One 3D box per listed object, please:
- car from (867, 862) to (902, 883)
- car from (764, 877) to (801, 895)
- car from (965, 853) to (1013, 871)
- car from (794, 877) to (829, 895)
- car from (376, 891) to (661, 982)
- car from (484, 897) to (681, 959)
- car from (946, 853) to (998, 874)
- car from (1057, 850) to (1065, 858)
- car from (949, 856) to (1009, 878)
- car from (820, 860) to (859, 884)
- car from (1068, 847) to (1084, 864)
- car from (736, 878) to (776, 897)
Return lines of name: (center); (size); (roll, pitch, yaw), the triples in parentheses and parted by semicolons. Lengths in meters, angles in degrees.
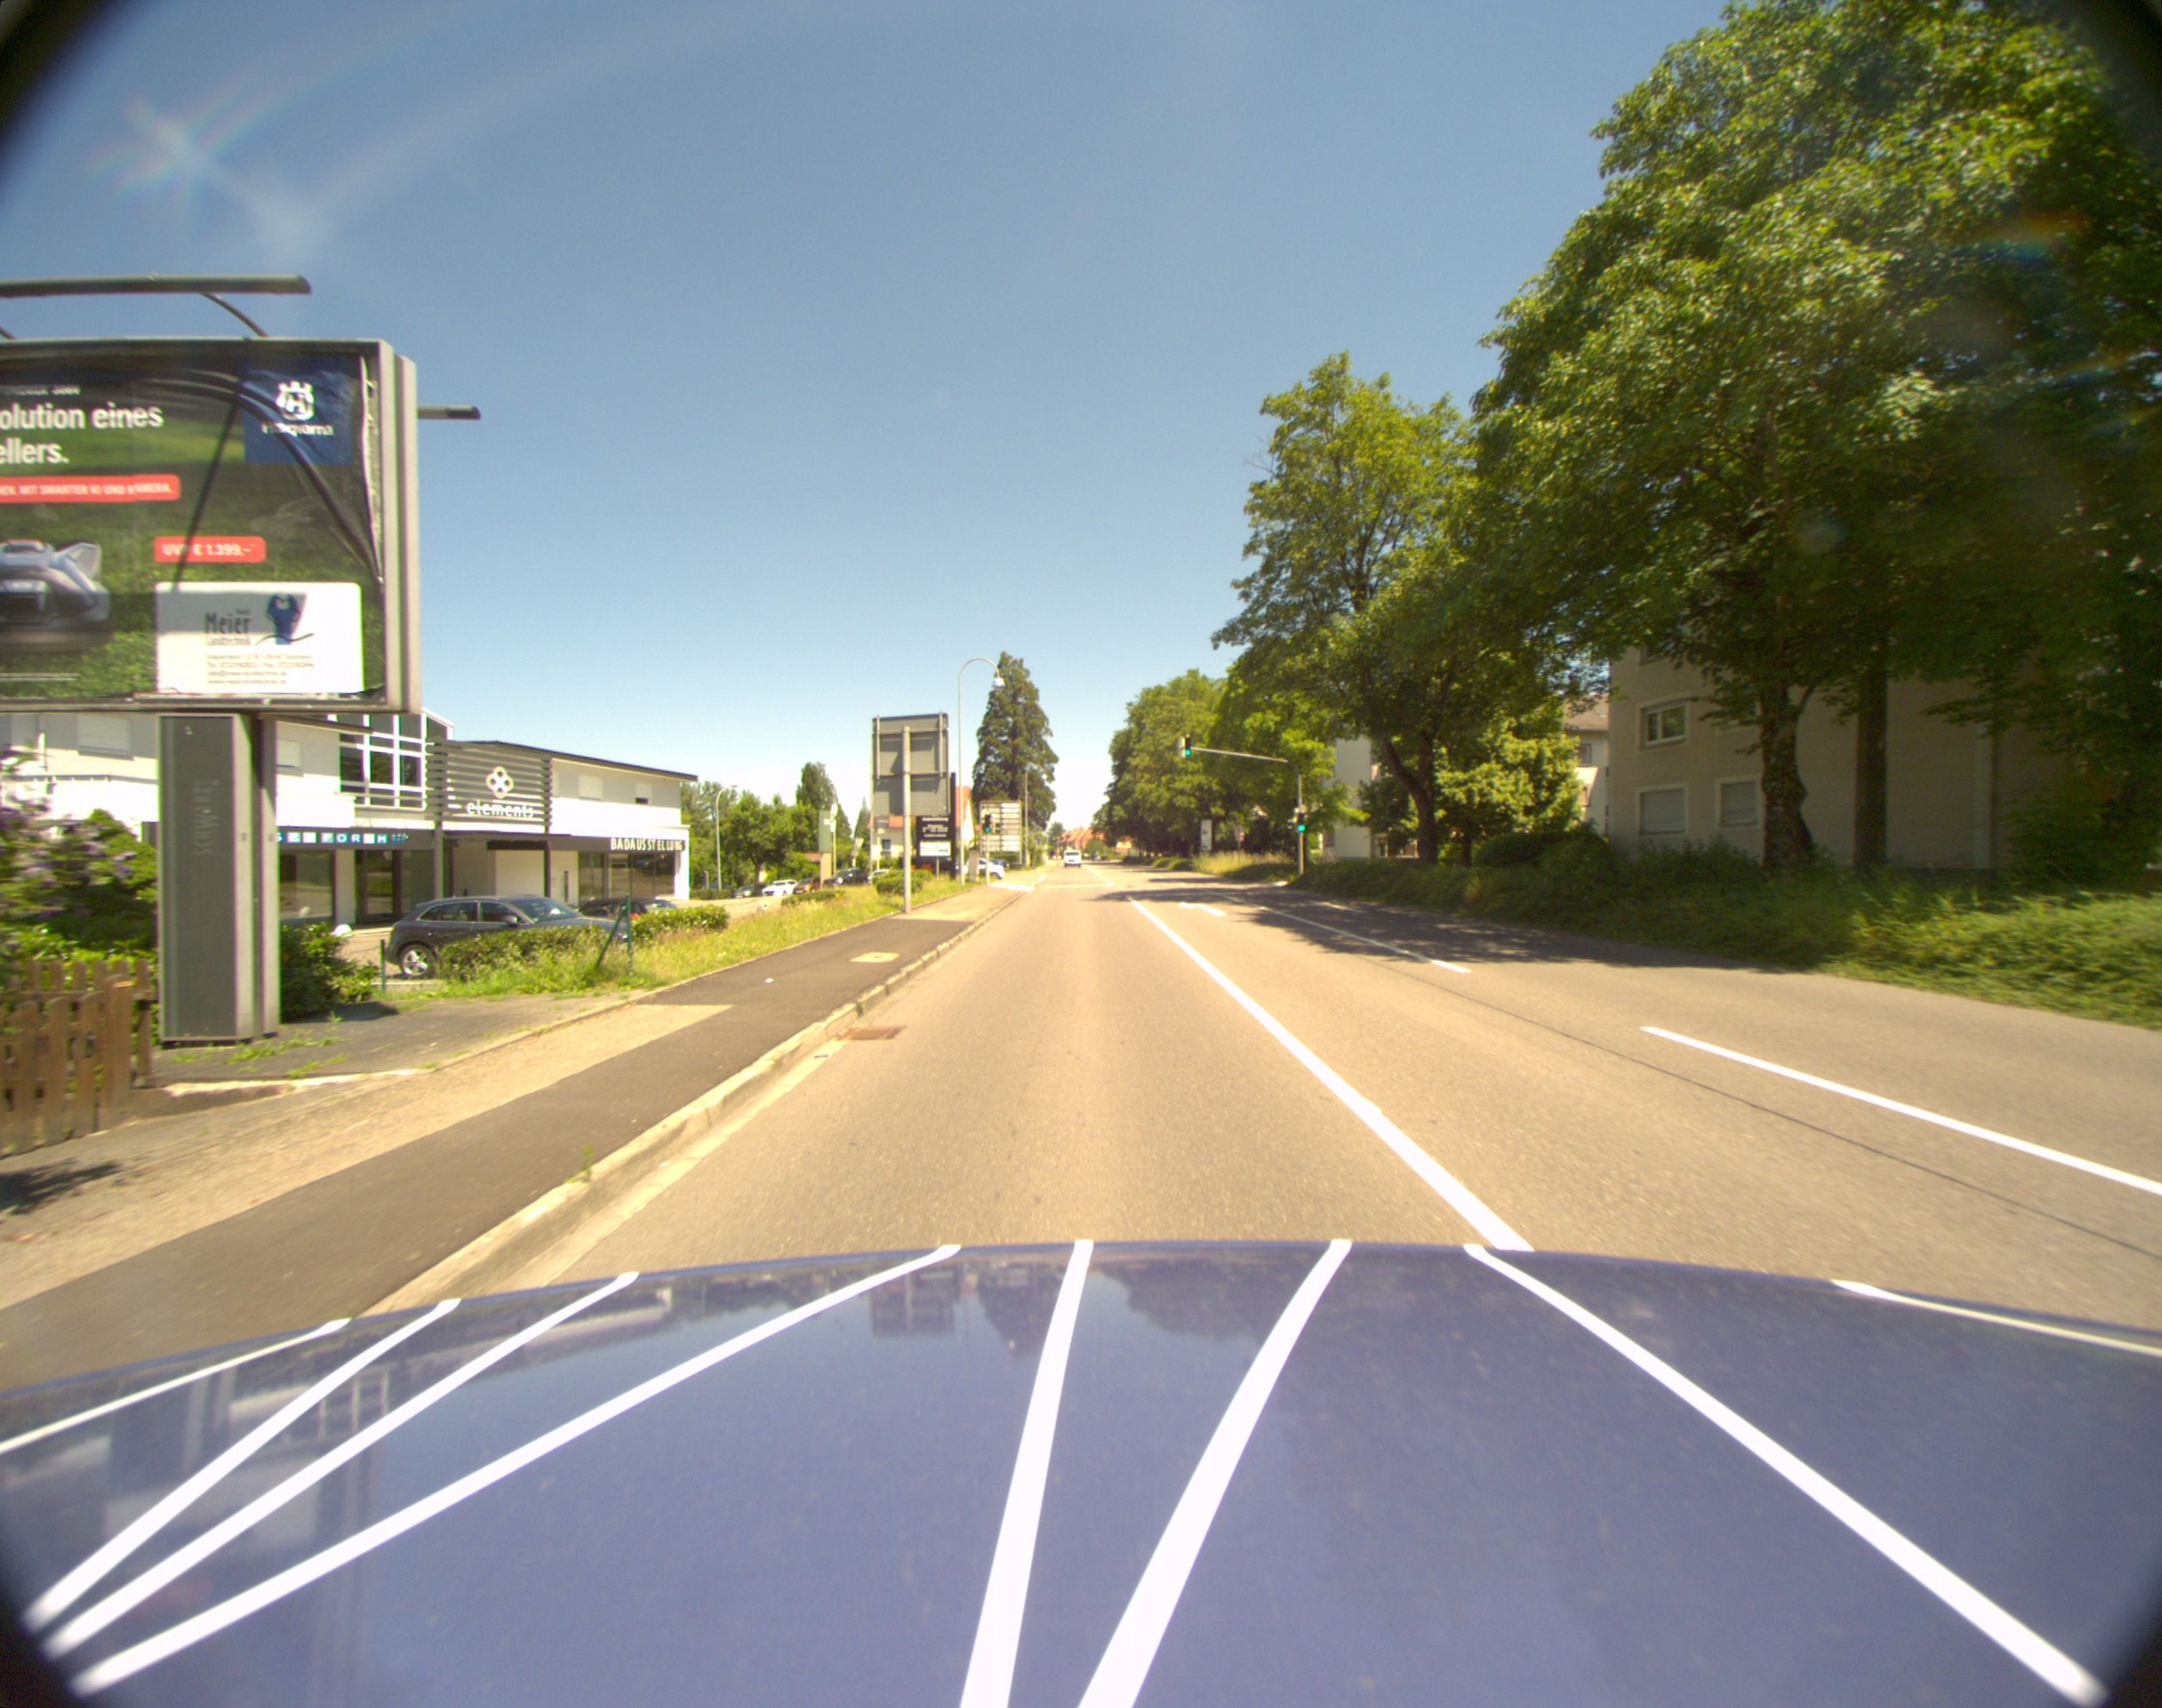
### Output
car: (-16.919, 1.560, 65.726); (1.697, 1.635, 3.700); (-2, 1, 6)
car: (-26.607, 2.793, 67.808); (1.835, 1.426, 3.699); (-1, 0, 1)
car: (-7.388, 0.641, 61.170); (3.637, 1.375, 1.627); (-1, 1, 2)
car: (-23.868, 2.802, 67.422); (1.776, 1.426, 3.699); (-1, 0, 1)
car: (-11.650, 1.679, 15.964); (4.605, 1.654, 1.884); (-1, 1, 2)
car: (-12.661, 1.857, 19.450); (3.975, 1.375, 1.627); (-1, 1, 2)
car: (-8.335, 0.690, 58.303); (3.637, 1.542, 1.627); (-1, 1, 2)
car: (-5.374, 0.082, 202.456); (1.862, 2.002, 4.001); (0, 0, 2)
car: (-6.649, 0.848, 49.612); (3.637, 1.375, 1.627); (-1, 1, 2)
car: (-18.445, 1.339, 58.118); (1.698, 1.635, 3.699); (-2, 1, 0)
car: (-0.600, 0.179, 87.624); (1.796, 1.904, 3.640); (-1, 1, 0)
car: (-28.893, 2.970, 67.661); (1.776, 1.426, 3.700); (-1, 0, 2)
